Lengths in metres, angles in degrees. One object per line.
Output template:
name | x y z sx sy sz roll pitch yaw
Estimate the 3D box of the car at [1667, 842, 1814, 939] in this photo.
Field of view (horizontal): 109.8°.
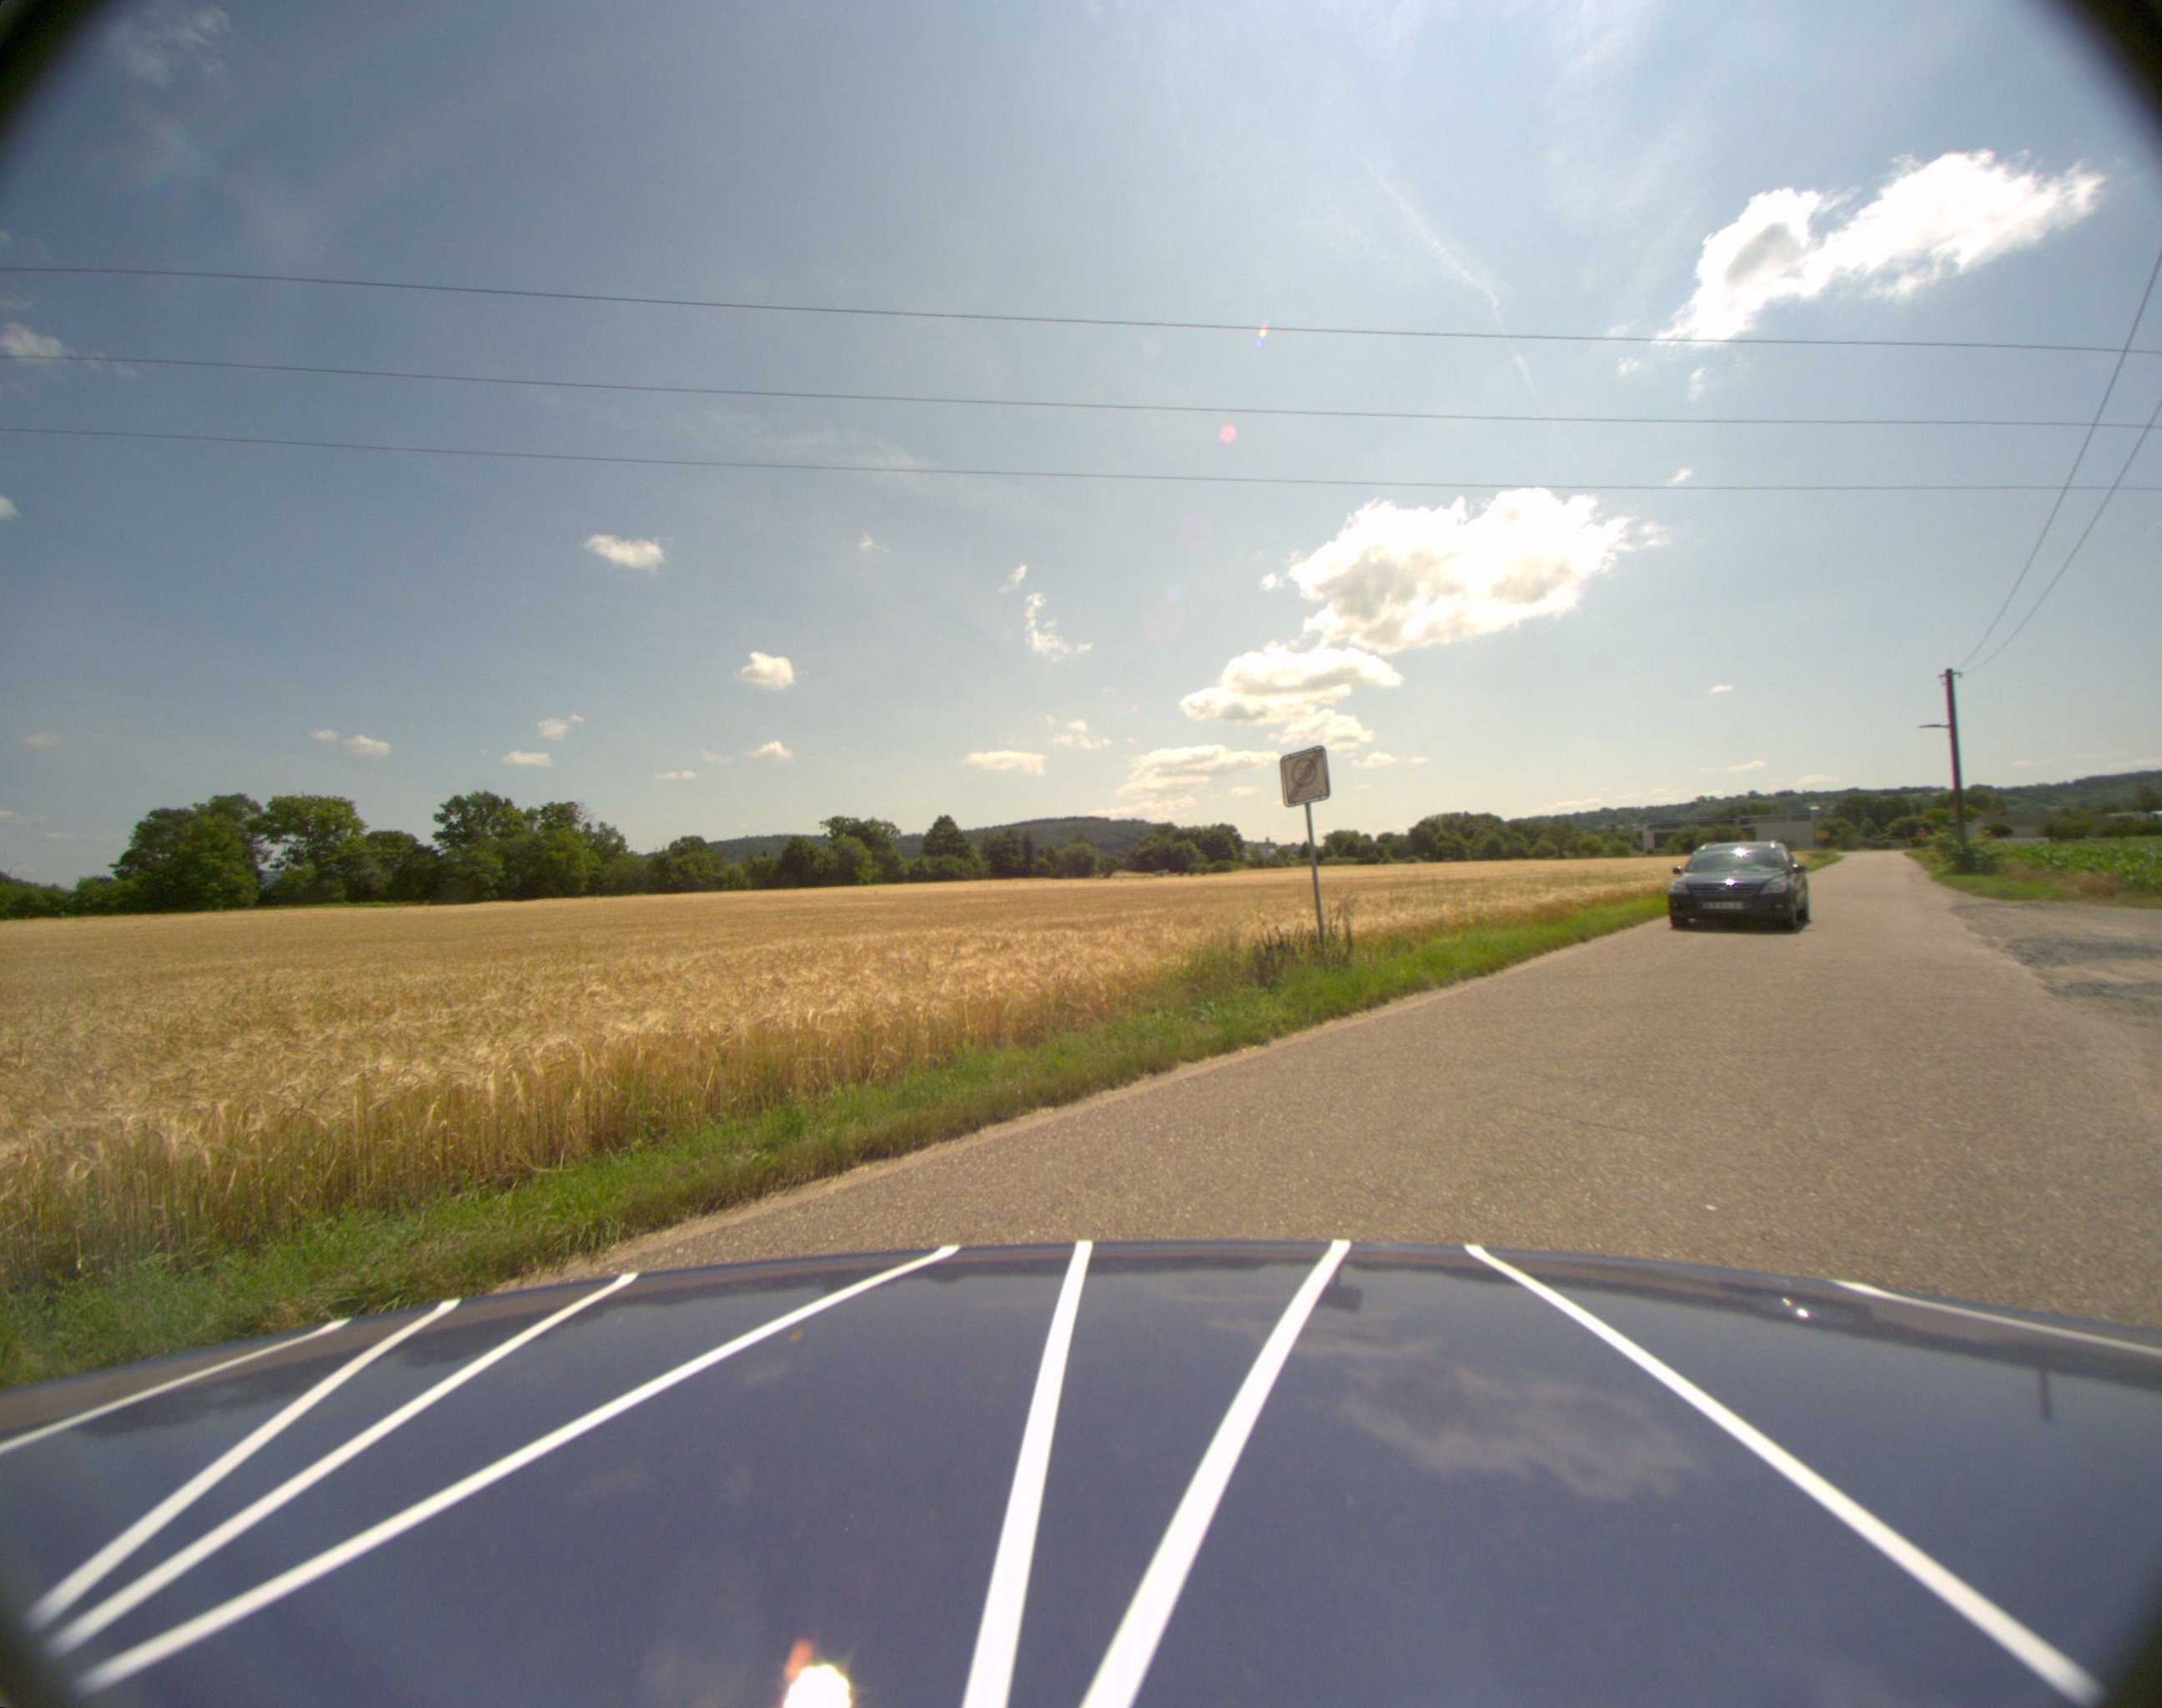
car | 13.243 0.631 15.157 4.264 1.669 1.745 -1 -1 -43
